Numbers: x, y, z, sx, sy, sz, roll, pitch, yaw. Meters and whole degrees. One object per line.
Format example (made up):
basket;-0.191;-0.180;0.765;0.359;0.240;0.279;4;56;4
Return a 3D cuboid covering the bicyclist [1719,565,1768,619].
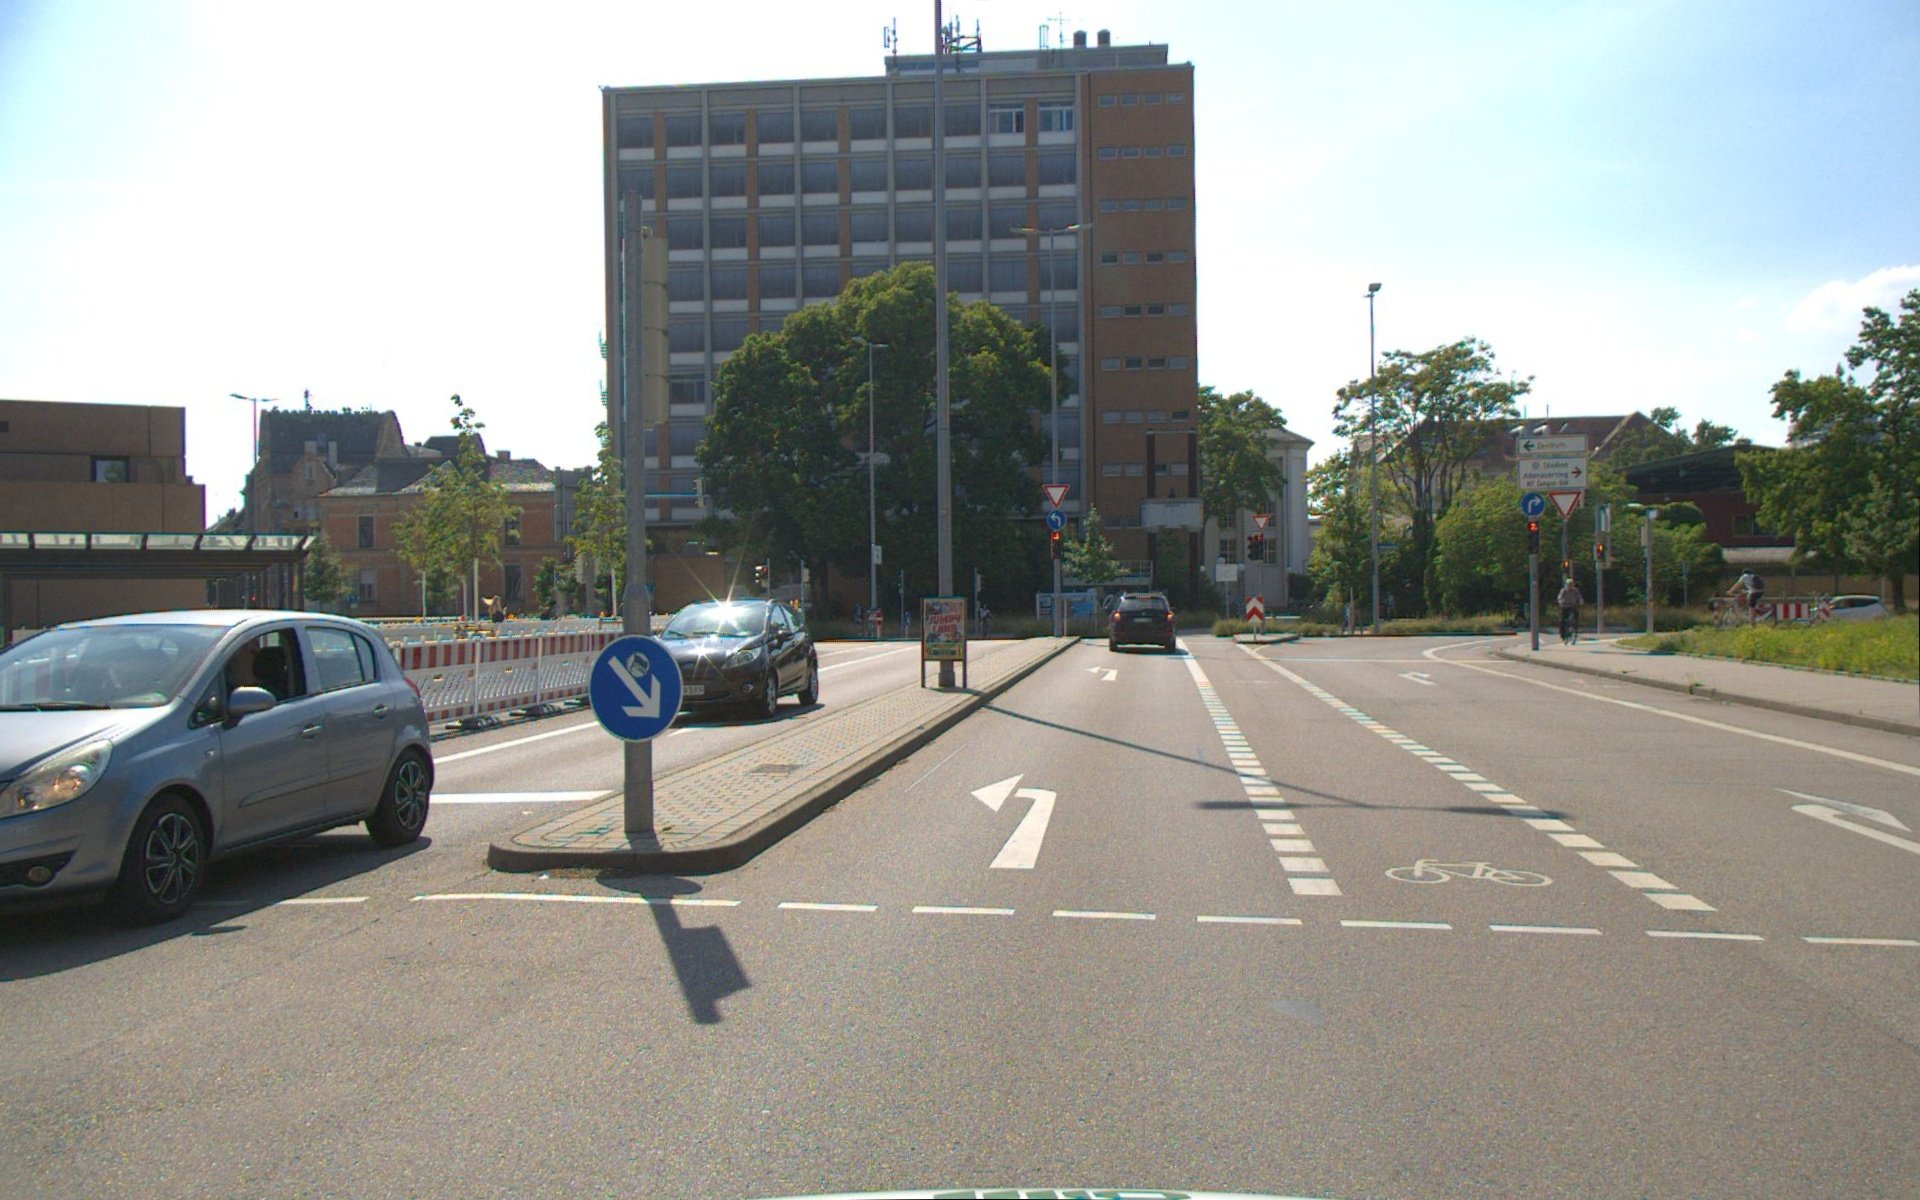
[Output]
bicyclist;21.898;-0.220;46.226;0.491;1.496;1.128;2;-1;-36

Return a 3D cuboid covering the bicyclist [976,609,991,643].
bicyclist;1.147;1.255;80.304;0.606;1.609;1.014;-3;0;2

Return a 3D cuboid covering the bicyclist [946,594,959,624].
bicyclist;-0.378;0.448;82.778;0.528;1.441;1.030;-2;-1;5

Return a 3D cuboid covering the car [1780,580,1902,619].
car;35.773;-0.006;67.253;3.902;1.490;2.001;-1;-1;6

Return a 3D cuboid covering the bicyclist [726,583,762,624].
bicyclist;-7.965;0.131;61.043;1.141;1.500;0.564;-1;0;19

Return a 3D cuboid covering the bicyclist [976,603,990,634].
bicyclist;1.126;0.884;80.307;0.606;1.468;0.921;-3;0;2

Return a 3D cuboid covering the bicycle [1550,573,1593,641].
bicycle;16.601;0.188;44.936;0.663;1.796;1.812;-1;0;7

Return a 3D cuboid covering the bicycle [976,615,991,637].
bicycle;1.148;1.255;80.304;0.606;0.977;1.968;-3;0;2

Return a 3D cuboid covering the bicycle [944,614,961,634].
bicycle;-0.366;1.196;83.070;0.689;0.994;2.032;-1;0;5

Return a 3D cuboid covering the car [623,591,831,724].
car;-2.859;0.660;21.113;1.631;1.476;3.821;-3;0;7

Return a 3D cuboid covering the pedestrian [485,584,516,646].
pedestrian;-13.799;0.462;49.674;0.722;1.783;1.108;-1;-2;-9

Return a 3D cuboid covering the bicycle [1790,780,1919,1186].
bicycle;2.695;0.986;3.732;0.584;0.948;2.027;0;0;-1

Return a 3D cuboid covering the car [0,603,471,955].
car;-4.359;0.783;8.981;1.756;1.436;4.003;-3;0;7

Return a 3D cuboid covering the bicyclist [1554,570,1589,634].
bicyclist;16.616;0.051;44.963;0.663;1.684;0.919;-1;0;7

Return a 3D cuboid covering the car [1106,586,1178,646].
car;4.741;0.397;42.871;1.742;1.468;3.821;1;0;7

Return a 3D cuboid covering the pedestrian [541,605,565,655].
pedestrian;-12.564;0.920;51.081;0.619;1.518;0.615;-1;0;-9

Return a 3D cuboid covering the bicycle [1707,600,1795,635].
bicycle;22.037;0.484;46.104;0.667;0.932;2.141;-1;0;-35

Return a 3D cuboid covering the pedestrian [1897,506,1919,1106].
pedestrian;2.684;0.511;3.707;0.571;1.492;1.013;0;0;-2
